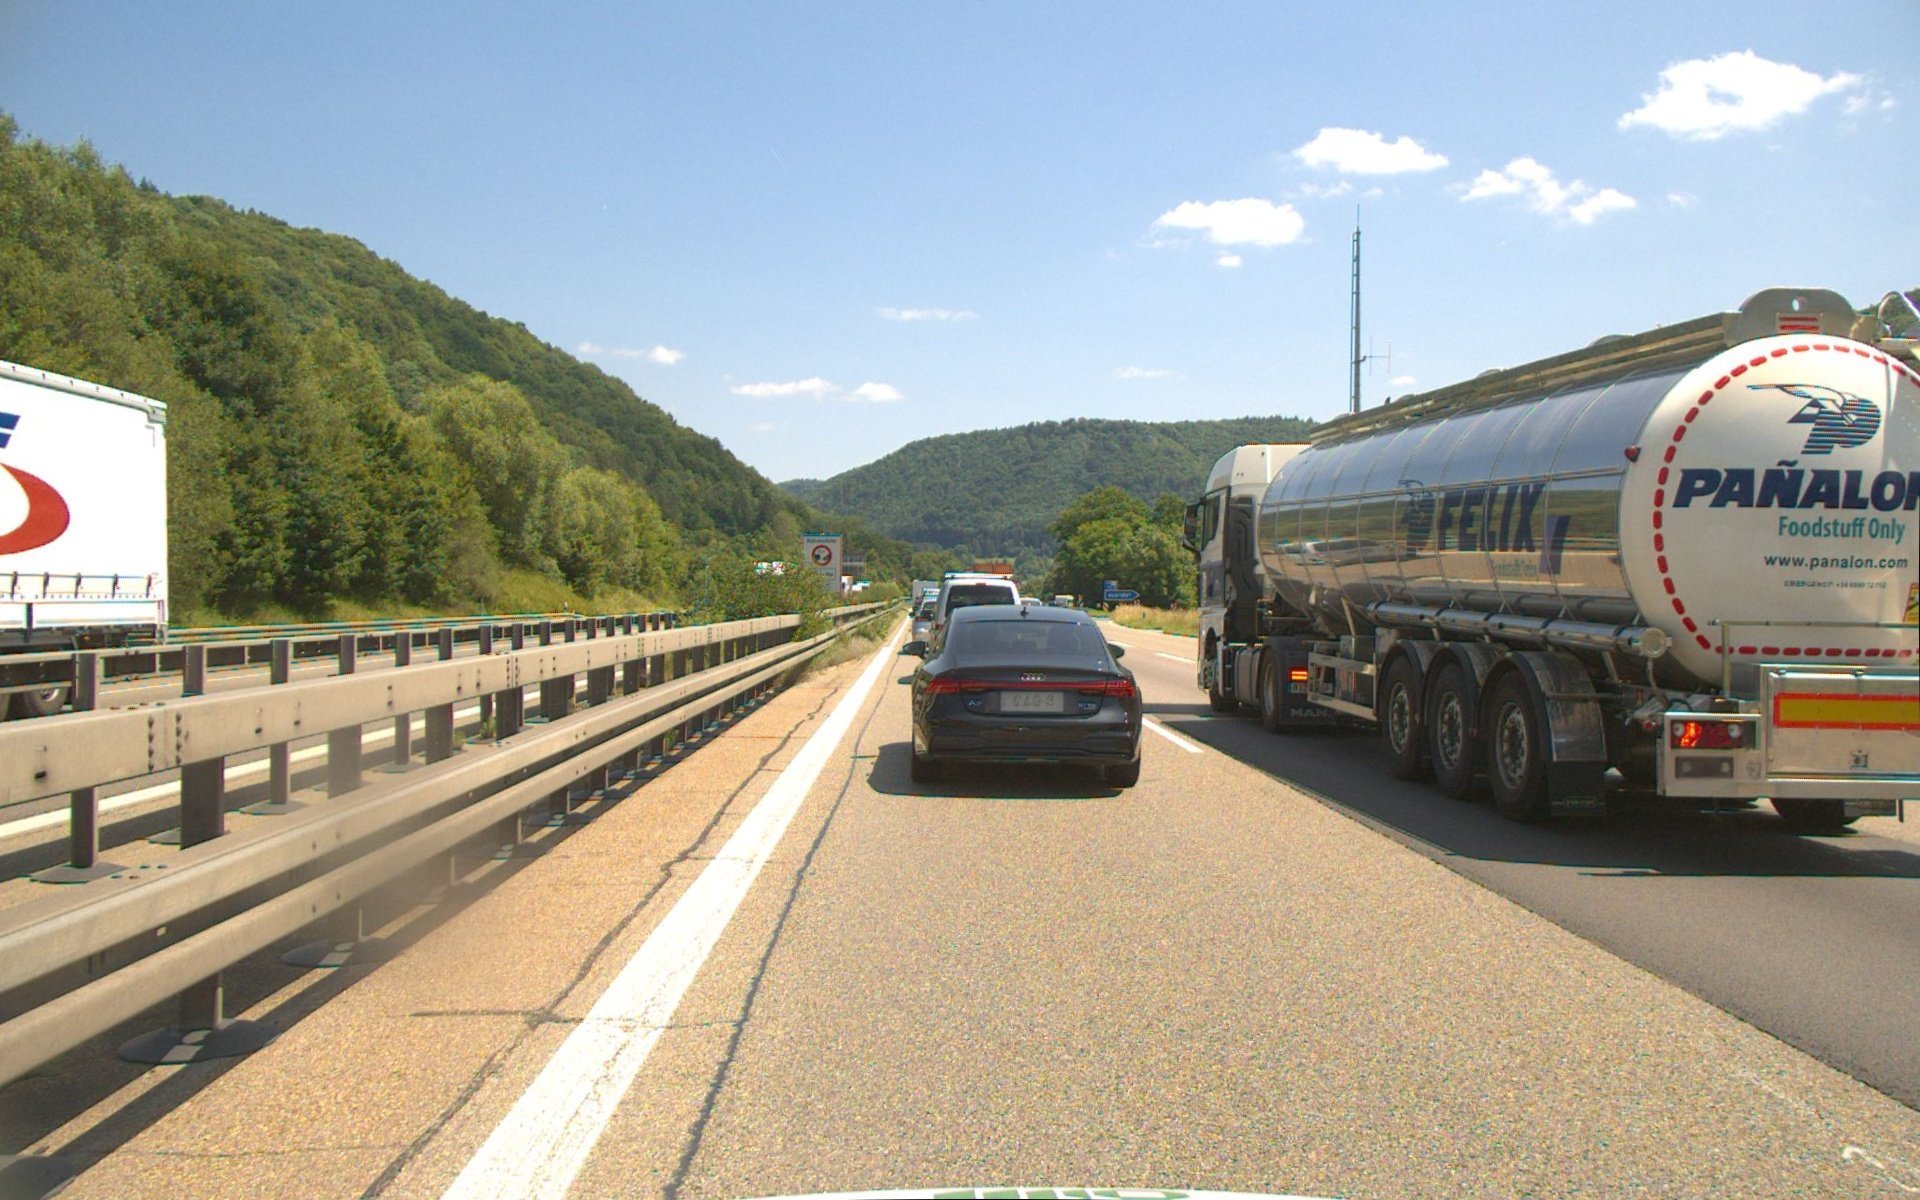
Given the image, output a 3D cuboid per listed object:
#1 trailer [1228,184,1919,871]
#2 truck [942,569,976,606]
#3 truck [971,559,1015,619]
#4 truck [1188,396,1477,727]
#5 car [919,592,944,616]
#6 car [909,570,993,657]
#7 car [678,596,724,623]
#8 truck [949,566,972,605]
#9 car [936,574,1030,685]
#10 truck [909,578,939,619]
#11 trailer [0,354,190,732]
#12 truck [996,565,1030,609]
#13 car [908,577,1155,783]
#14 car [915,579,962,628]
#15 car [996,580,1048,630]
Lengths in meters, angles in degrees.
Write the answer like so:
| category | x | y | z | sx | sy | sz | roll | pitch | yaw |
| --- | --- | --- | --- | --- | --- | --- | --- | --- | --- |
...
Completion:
| category | x | y | z | sx | sy | sz | roll | pitch | yaw |
| --- | --- | --- | --- | --- | --- | --- | --- | --- | --- |
| trailer | 4.853 | -0.417 | 15.152 | 2.487 | 3.801 | 11.887 | 1 | 0 | -2 |
| truck | -0.046 | -1.602 | 209.302 | 3.714 | 4.491 | 14.960 | -1 | 0 | 2 |
| truck | 2.313 | -0.775 | 121.344 | 2.760 | 4.073 | 14.953 | 1 | 0 | 0 |
| truck | 4.694 | -0.451 | 21.836 | 2.461 | 3.824 | 5.244 | 1 | 0 | -2 |
| car | -1.980 | 0.258 | 115.765 | 1.677 | 1.646 | 4.000 | 0 | 0 | 0 |
| car | -0.261 | 0.313 | 40.983 | 1.953 | 2.049 | 3.999 | 1 | 0 | -1 |
| car | -14.160 | 0.501 | 90.697 | 1.831 | 1.445 | 4.432 | -1 | 0 | -1 |
| truck | -0.008 | -1.319 | 152.909 | 1.953 | 3.507 | 11.808 | 1 | 0 | -1 |
| car | 0.364 | 0.491 | 29.880 | 1.544 | 1.865 | 3.999 | 1 | 0 | -1 |
| truck | -3.191 | -0.166 | 147.812 | 2.575 | 3.501 | 11.418 | 0 | 0 | -1 |
| trailer | -11.910 | -0.616 | 17.229 | 2.798 | 4.147 | 11.259 | 0 | 0 | -2 |
| truck | 5.078 | -1.258 | 161.497 | 2.760 | 4.073 | 14.953 | 1 | 0 | 0 |
| car | 0.470 | 0.586 | 14.326 | 1.812 | 1.514 | 4.081 | 1 | 0 | -2 |
| car | -0.964 | 0.127 | 72.204 | 1.953 | 2.049 | 3.999 | 0 | 0 | -2 |
| car | 2.604 | 0.192 | 70.141 | 1.953 | 2.049 | 3.999 | 0 | 0 | -1 |
